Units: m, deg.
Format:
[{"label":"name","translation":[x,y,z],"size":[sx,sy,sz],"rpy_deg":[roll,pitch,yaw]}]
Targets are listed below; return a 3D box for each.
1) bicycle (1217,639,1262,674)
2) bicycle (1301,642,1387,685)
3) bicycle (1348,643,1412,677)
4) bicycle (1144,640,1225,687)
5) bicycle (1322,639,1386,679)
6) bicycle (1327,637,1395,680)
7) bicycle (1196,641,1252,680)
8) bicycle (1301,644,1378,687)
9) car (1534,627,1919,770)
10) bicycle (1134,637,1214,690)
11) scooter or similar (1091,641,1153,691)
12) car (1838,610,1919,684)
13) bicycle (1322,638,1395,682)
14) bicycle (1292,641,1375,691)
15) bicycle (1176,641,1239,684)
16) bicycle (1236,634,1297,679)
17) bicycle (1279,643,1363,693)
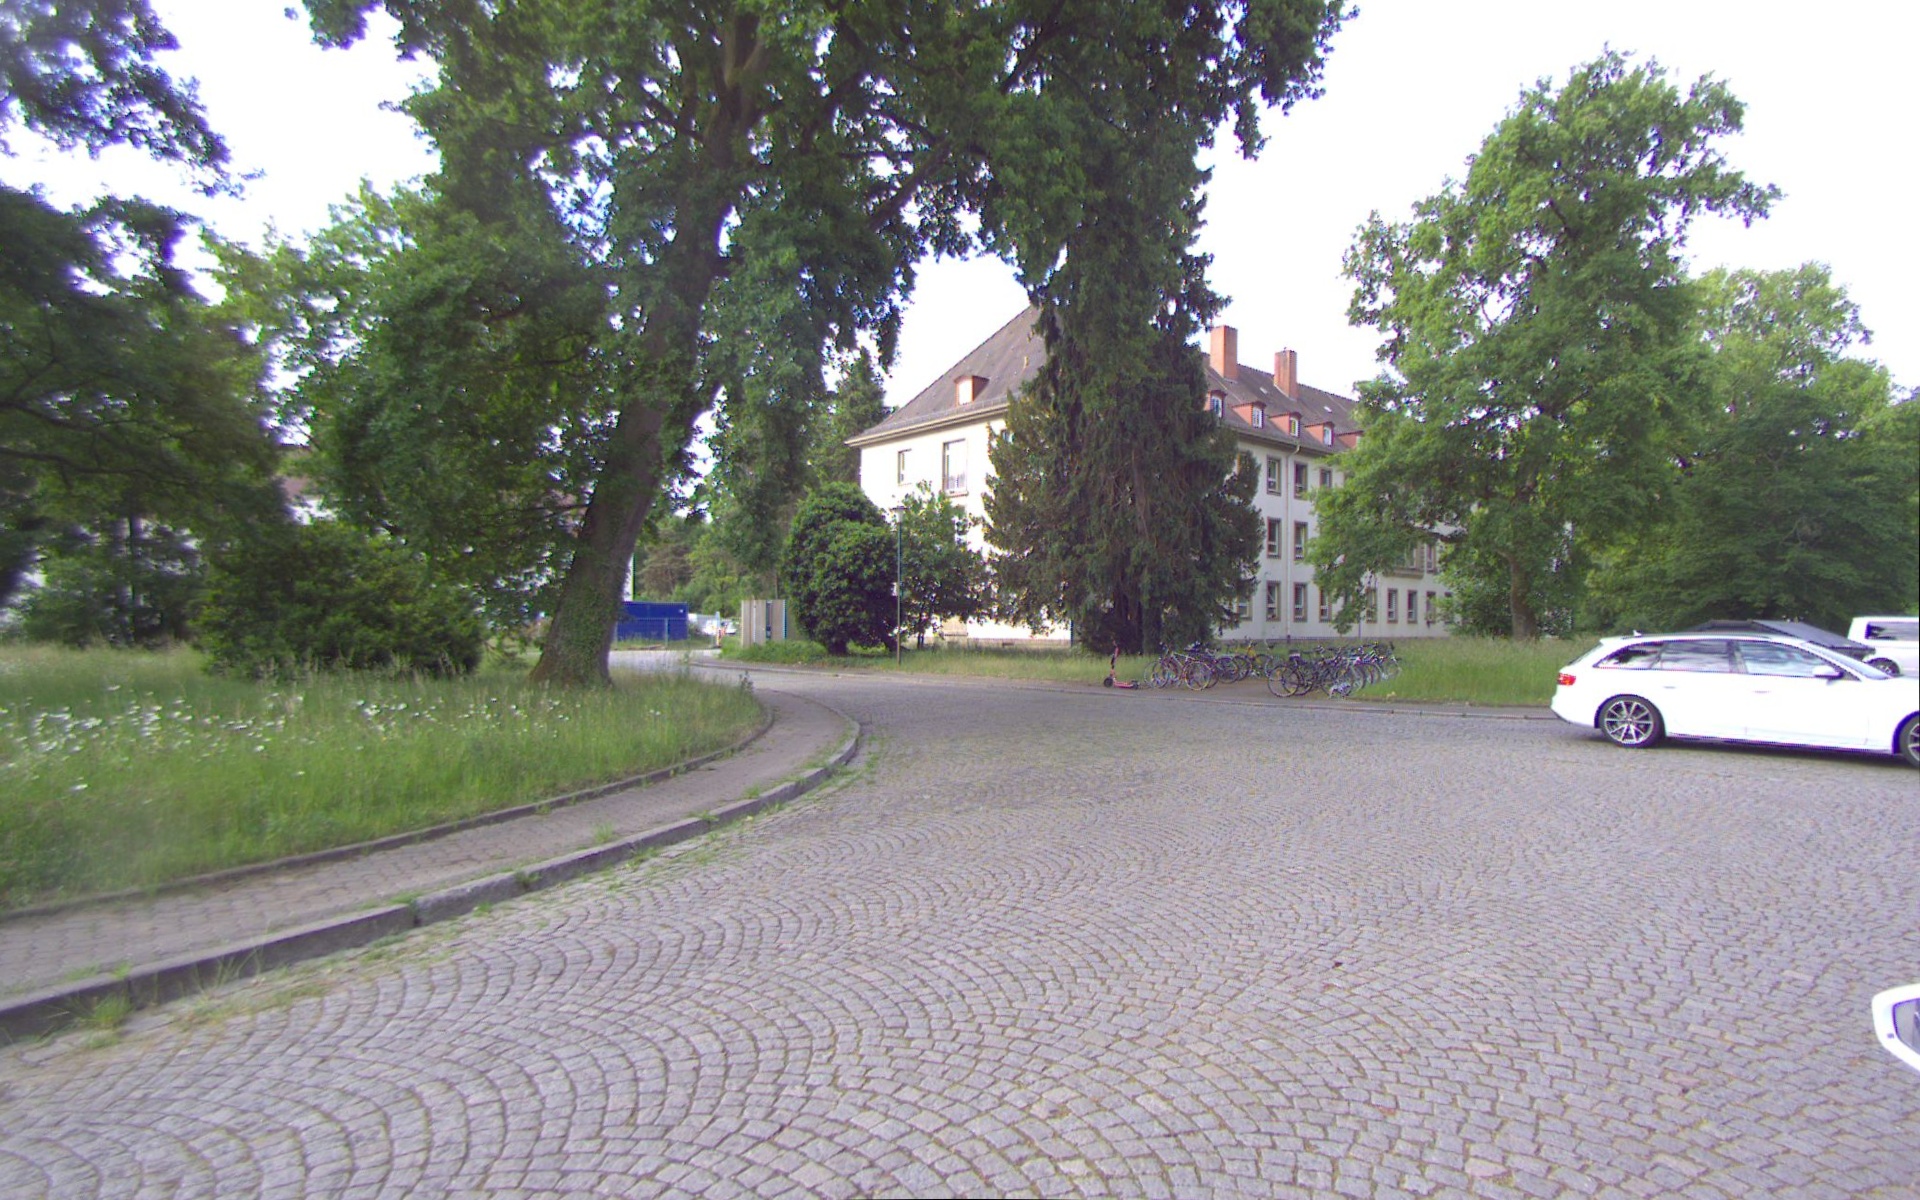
[{"label":"bicycle","translation":[8.581,1.743,30.847],"size":[1.241,1.042,0.433],"rpy_deg":[-2,-4,31]},{"label":"bicycle","translation":[9.768,1.611,25.562],"size":[1.925,1.018,0.685],"rpy_deg":[-2,0,31]},{"label":"bicycle","translation":[11.859,1.685,28.381],"size":[1.593,0.923,0.525],"rpy_deg":[-2,0,31]},{"label":"bicycle","translation":[5.783,1.623,25.920],"size":[1.956,1.129,0.642],"rpy_deg":[0,1,31]},{"label":"bicycle","translation":[11.074,1.640,28.219],"size":[1.593,1.073,0.525],"rpy_deg":[-2,0,31]},{"label":"bicycle","translation":[11.011,1.608,27.602],"size":[1.672,1.131,0.540],"rpy_deg":[-2,0,31]},{"label":"bicycle","translation":[7.490,1.718,28.523],"size":[1.486,1.049,0.545],"rpy_deg":[0,1,20]},{"label":"bicycle","translation":[9.383,1.614,24.836],"size":[1.667,1.015,0.631],"rpy_deg":[-2,0,31]},{"label":"car","translation":[9.756,1.066,12.068],"size":[1.840,1.456,4.649],"rpy_deg":[1,-2,-41]},{"label":"bicycle","translation":[5.395,1.576,25.373],"size":[1.868,1.239,0.642],"rpy_deg":[0,1,31]},{"label":"scooter or similar","translation":[4.123,1.663,25.675],"size":[0.676,1.211,1.536],"rpy_deg":[0,-1,-37]},{"label":"car","translation":[28.796,1.389,28.842],"size":[2.172,2.087,5.154],"rpy_deg":[2,-1,-41]},{"label":"bicycle","translation":[10.752,1.616,27.123],"size":[1.745,1.120,0.540],"rpy_deg":[-2,0,31]},{"label":"bicycle","translation":[9.004,1.579,24.215],"size":[1.767,1.118,0.701],"rpy_deg":[-2,0,31]},{"label":"bicycle","translation":[6.703,1.678,27.207],"size":[1.598,1.088,0.539],"rpy_deg":[0,1,20]},{"label":"bicycle","translation":[8.749,1.605,28.689],"size":[1.613,1.201,0.574],"rpy_deg":[0,1,24]},{"label":"bicycle","translation":[8.492,1.588,23.639],"size":[1.742,1.118,0.701],"rpy_deg":[-2,0,31]}]
